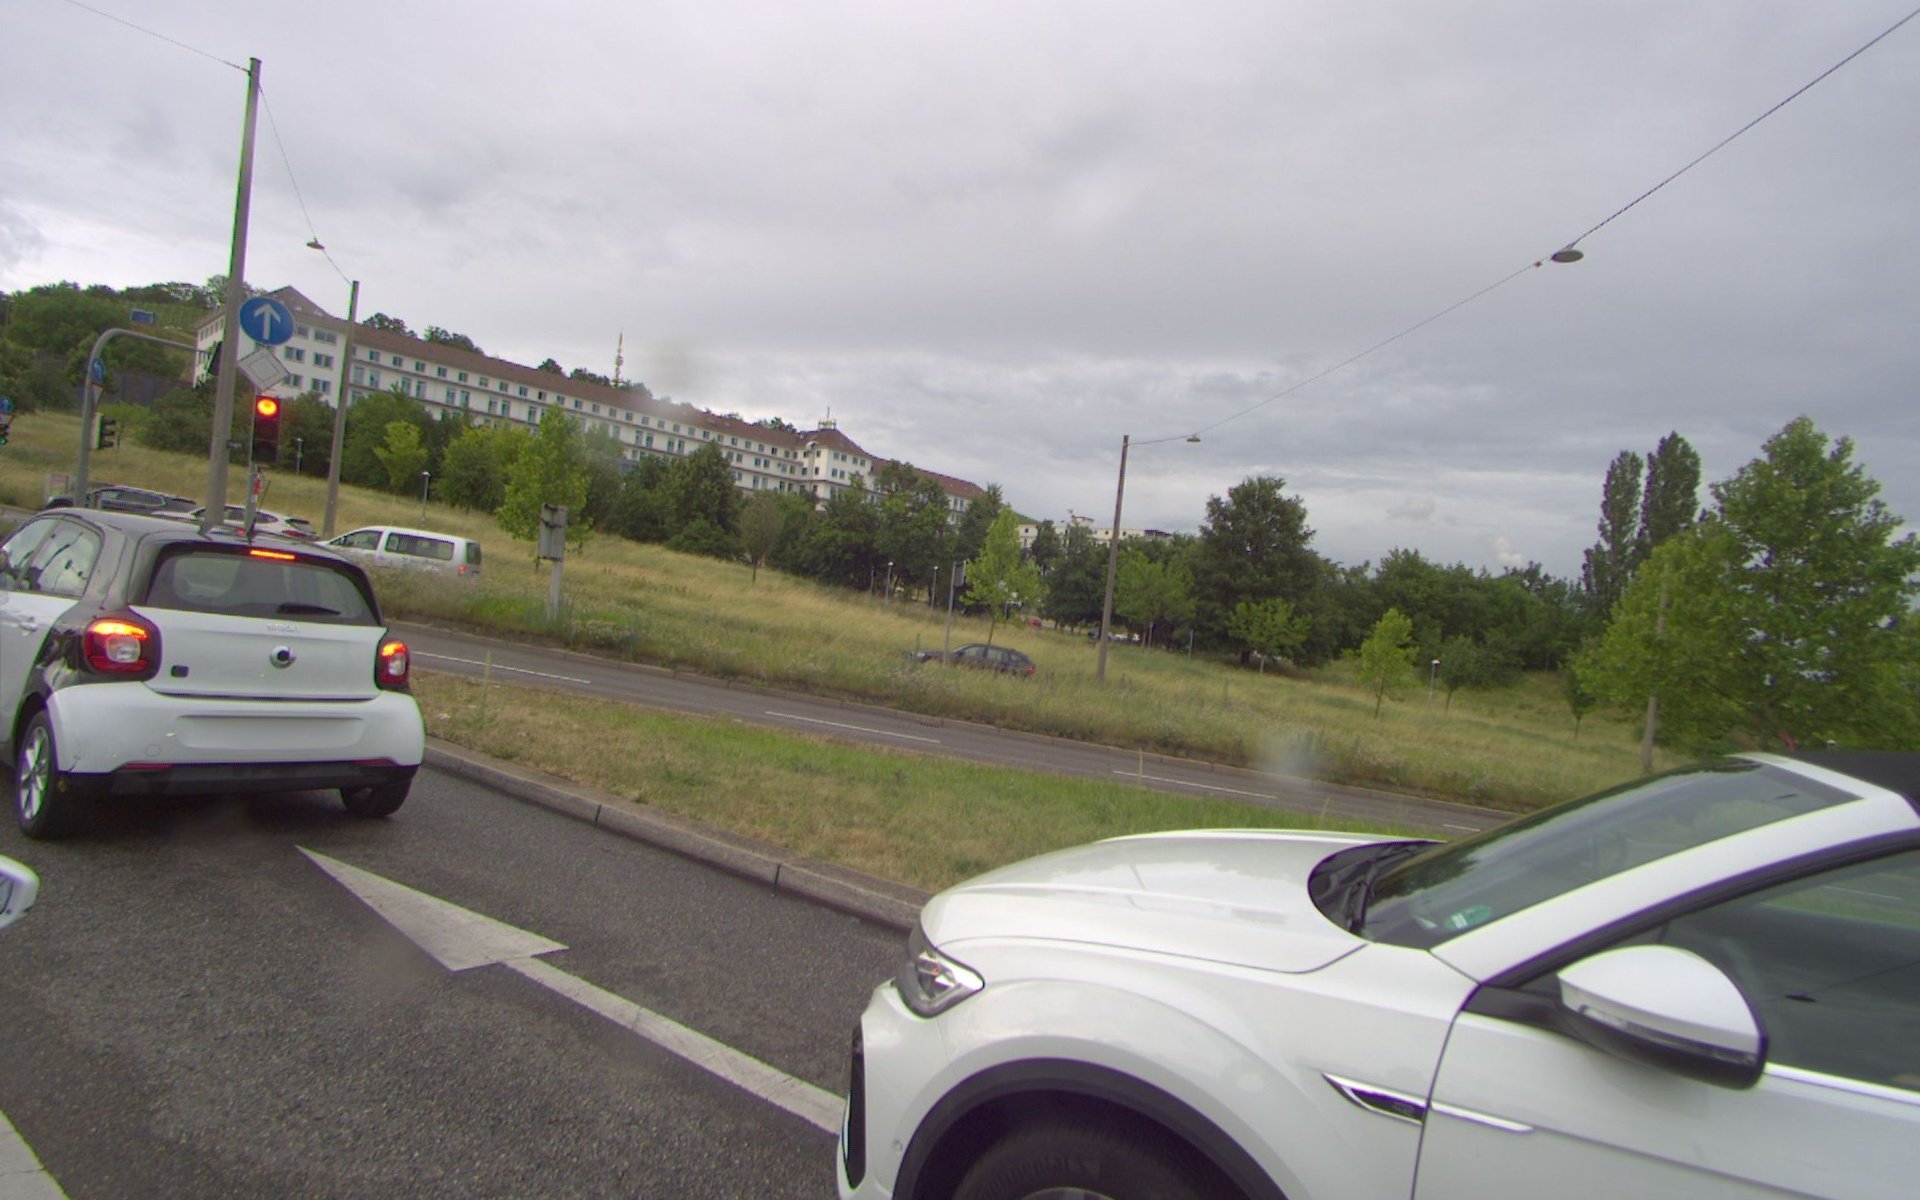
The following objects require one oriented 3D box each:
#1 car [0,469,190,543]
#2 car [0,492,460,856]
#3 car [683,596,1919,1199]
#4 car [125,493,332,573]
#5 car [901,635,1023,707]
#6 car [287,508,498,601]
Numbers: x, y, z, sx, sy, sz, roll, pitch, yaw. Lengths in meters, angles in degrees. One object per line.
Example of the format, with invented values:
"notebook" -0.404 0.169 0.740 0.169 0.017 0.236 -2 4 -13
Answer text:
"car" -29.082 -3.121 33.956 4.342 1.655 2.000 7 -2 -5
"car" -4.707 0.275 5.907 3.397 1.520 1.659 6 -2 36
"car" 1.704 1.043 1.812 4.156 1.571 1.718 6 -2 28
"car" -21.827 -1.960 30.226 4.449 1.639 1.998 8 -2 -10
"car" 0.022 2.513 36.145 3.932 2.037 1.998 7 -2 -9
"car" -15.787 -1.223 28.212 4.617 1.871 1.821 7 -2 -7
